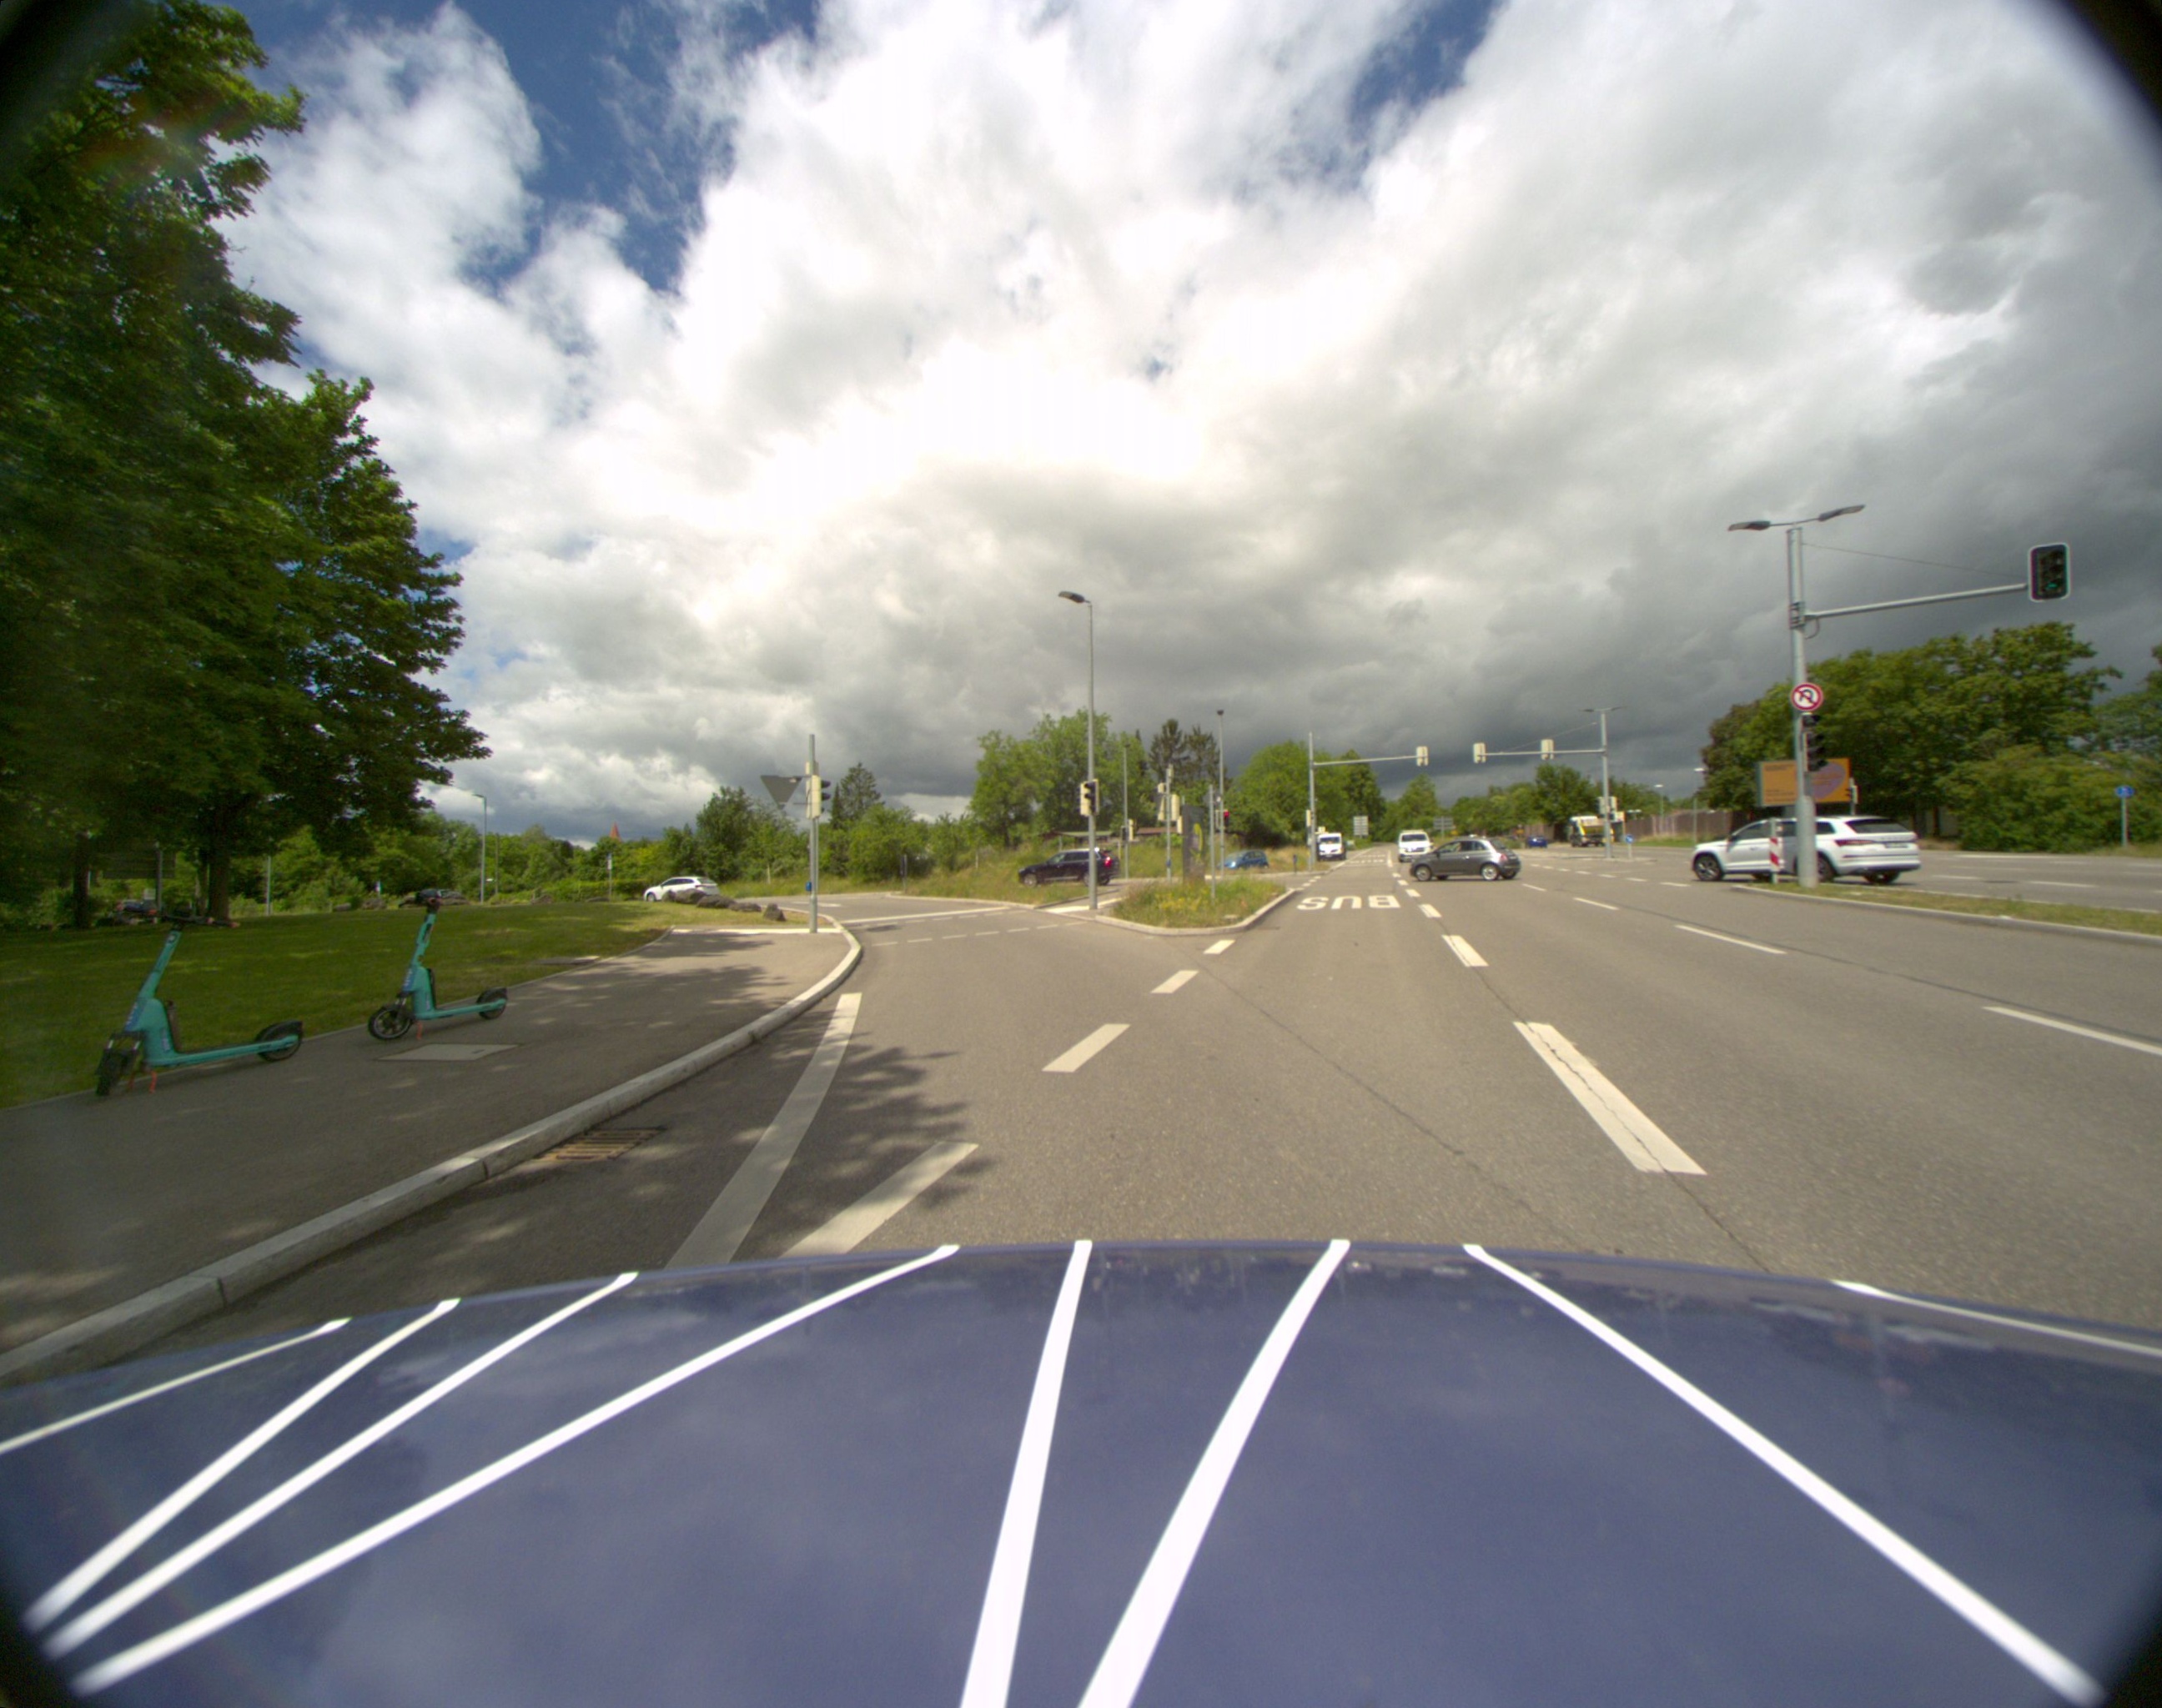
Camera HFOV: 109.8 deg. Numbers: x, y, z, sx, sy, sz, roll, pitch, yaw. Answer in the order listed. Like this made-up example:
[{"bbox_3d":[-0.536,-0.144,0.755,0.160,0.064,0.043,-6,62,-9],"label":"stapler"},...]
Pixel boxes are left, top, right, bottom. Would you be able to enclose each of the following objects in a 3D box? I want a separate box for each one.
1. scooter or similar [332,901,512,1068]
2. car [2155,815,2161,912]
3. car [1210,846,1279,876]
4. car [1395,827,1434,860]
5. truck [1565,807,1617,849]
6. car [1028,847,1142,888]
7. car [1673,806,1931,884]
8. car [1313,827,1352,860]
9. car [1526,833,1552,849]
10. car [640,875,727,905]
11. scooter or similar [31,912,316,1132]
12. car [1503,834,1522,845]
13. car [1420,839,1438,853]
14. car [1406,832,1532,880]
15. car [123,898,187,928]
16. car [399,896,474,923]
[{"bbox_3d":[-5.691,1.077,6.644,0.534,1.257,1.190,0,1,-1],"label":"scooter or similar"},{"bbox_3d":[16.821,0.132,9.503,1.806,1.502,4.405,-2,0,22],"label":"car"},{"bbox_3d":[10.203,0.429,47.264,4.456,1.627,1.906,-3,1,-43],"label":"car"},{"bbox_3d":[21.718,-0.701,49.645,1.907,1.926,4.977,-2,1,19],"label":"car"},{"bbox_3d":[51.560,-2.527,77.017,2.840,3.555,6.982,-2,-4,21],"label":"truck"},{"bbox_3d":[0.189,0.636,35.773,4.971,1.680,1.913,-2,1,22],"label":"car"},{"bbox_3d":[17.820,-0.172,19.212,1.732,1.649,4.901,-2,0,-2],"label":"car"},{"bbox_3d":[21.618,-0.907,65.069,2.160,2.635,5.835,-2,0,28],"label":"car"},{"bbox_3d":[50.283,-1.398,83.498,1.693,1.391,4.008,-2,-3,21],"label":"car"},{"bbox_3d":[-22.594,2.058,43.234,4.370,1.461,1.623,-3,1,15],"label":"car"},{"bbox_3d":[-6.170,1.075,5.262,0.534,1.257,1.190,0,1,-1],"label":"scooter or similar"},{"bbox_3d":[59.055,-1.918,104.107,1.693,1.392,4.006,-2,0,21],"label":"car"},{"bbox_3d":[46.515,-1.038,101.493,1.995,1.565,4.009,-2,-4,23],"label":"car"},{"bbox_3d":[13.505,0.123,26.607,1.588,1.451,3.516,1,-4,-37],"label":"car"},{"bbox_3d":[-71.044,4.515,58.288,4.802,1.767,1.794,-7,-3,22],"label":"car"},{"bbox_3d":[-41.587,3.550,49.037,4.156,1.568,1.793,-3,-2,18],"label":"car"}]
